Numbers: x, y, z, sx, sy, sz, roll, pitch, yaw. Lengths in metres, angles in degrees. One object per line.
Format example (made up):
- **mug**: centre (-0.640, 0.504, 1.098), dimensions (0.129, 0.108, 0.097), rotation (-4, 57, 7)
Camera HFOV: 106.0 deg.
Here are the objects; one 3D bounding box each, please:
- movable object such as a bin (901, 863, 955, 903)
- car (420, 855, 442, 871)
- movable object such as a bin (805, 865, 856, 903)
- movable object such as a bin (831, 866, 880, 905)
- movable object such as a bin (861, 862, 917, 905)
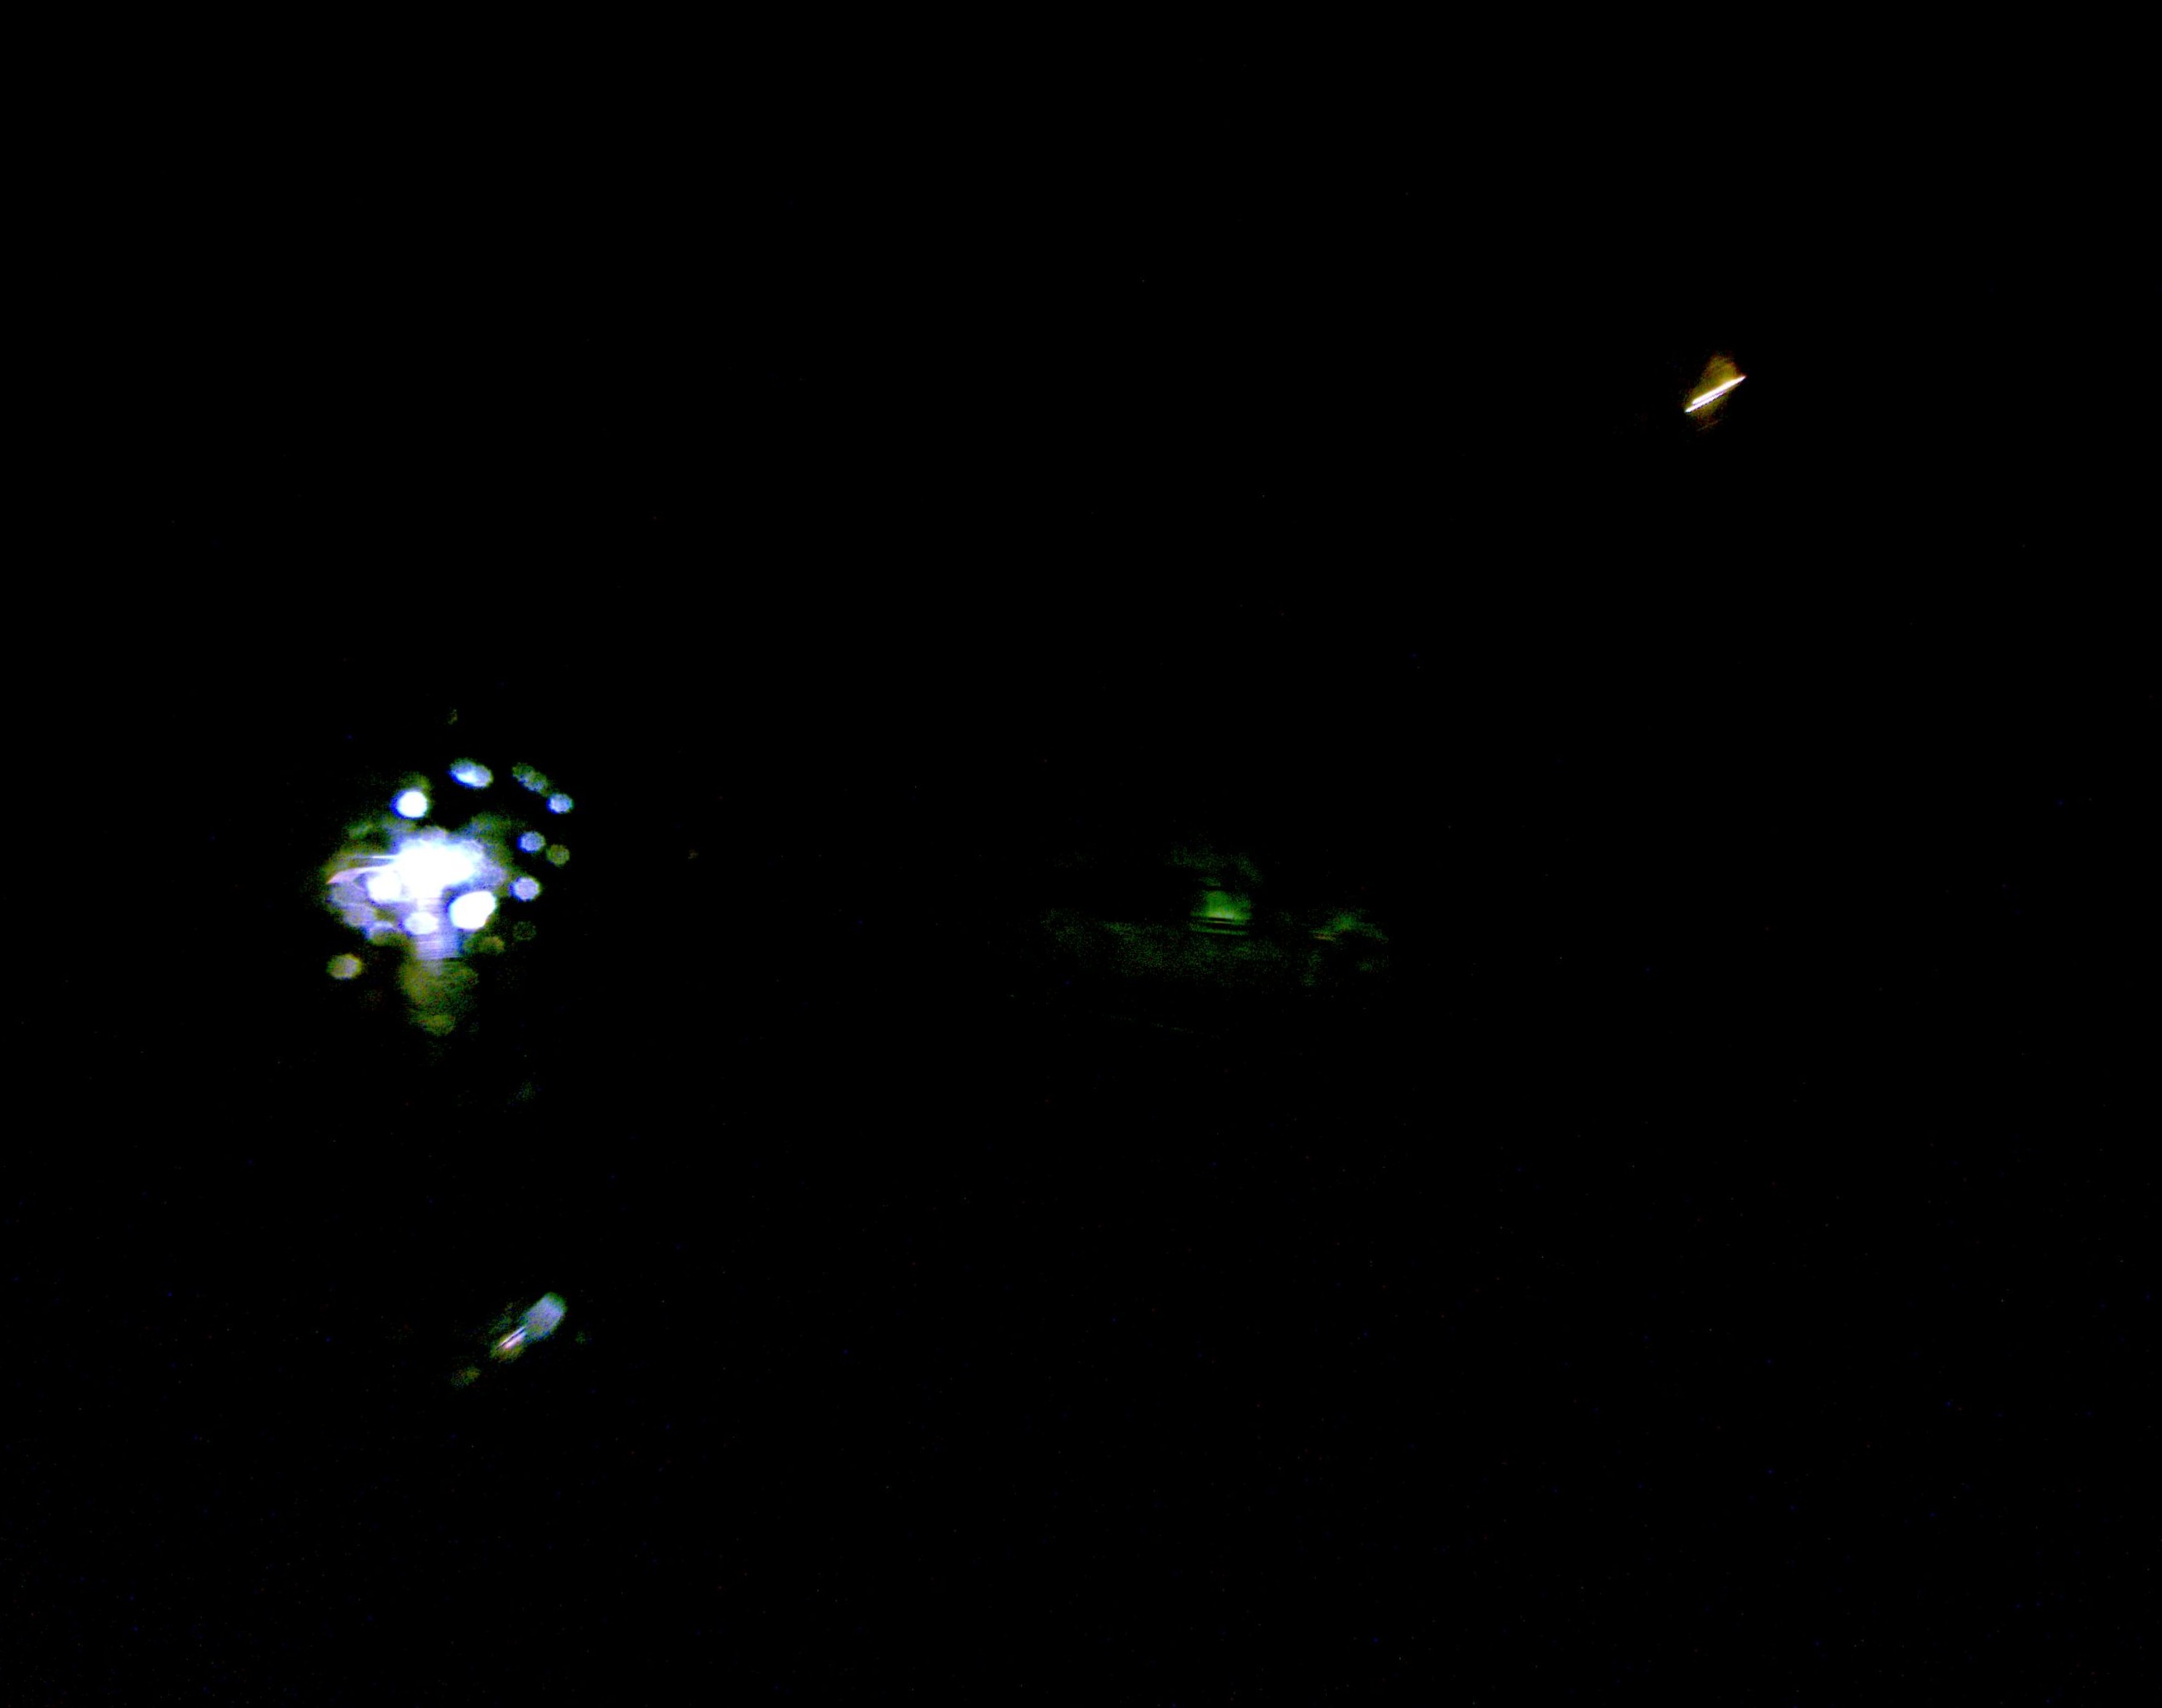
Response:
- **movable object such as a bin**: centre (-5.250, 0.991, 28.039), dimensions (1.302, 1.299, 1.258), rotation (-1, 0, 22)
- **car**: centre (-74.906, 1.043, 93.908), dimensions (1.904, 1.671, 3.954), rotation (-2, 2, -38)
- **movable object such as a bin**: centre (-9.114, 1.099, 29.685), dimensions (1.308, 1.309, 1.181), rotation (-1, 1, 14)
- **movable object such as a bin**: centre (-7.984, 1.120, 28.922), dimensions (1.219, 1.325, 1.158), rotation (-1, 0, 17)
- **movable object such as a bin**: centre (-6.731, 1.032, 28.588), dimensions (1.375, 1.413, 1.258), rotation (-3, -1, 22)
